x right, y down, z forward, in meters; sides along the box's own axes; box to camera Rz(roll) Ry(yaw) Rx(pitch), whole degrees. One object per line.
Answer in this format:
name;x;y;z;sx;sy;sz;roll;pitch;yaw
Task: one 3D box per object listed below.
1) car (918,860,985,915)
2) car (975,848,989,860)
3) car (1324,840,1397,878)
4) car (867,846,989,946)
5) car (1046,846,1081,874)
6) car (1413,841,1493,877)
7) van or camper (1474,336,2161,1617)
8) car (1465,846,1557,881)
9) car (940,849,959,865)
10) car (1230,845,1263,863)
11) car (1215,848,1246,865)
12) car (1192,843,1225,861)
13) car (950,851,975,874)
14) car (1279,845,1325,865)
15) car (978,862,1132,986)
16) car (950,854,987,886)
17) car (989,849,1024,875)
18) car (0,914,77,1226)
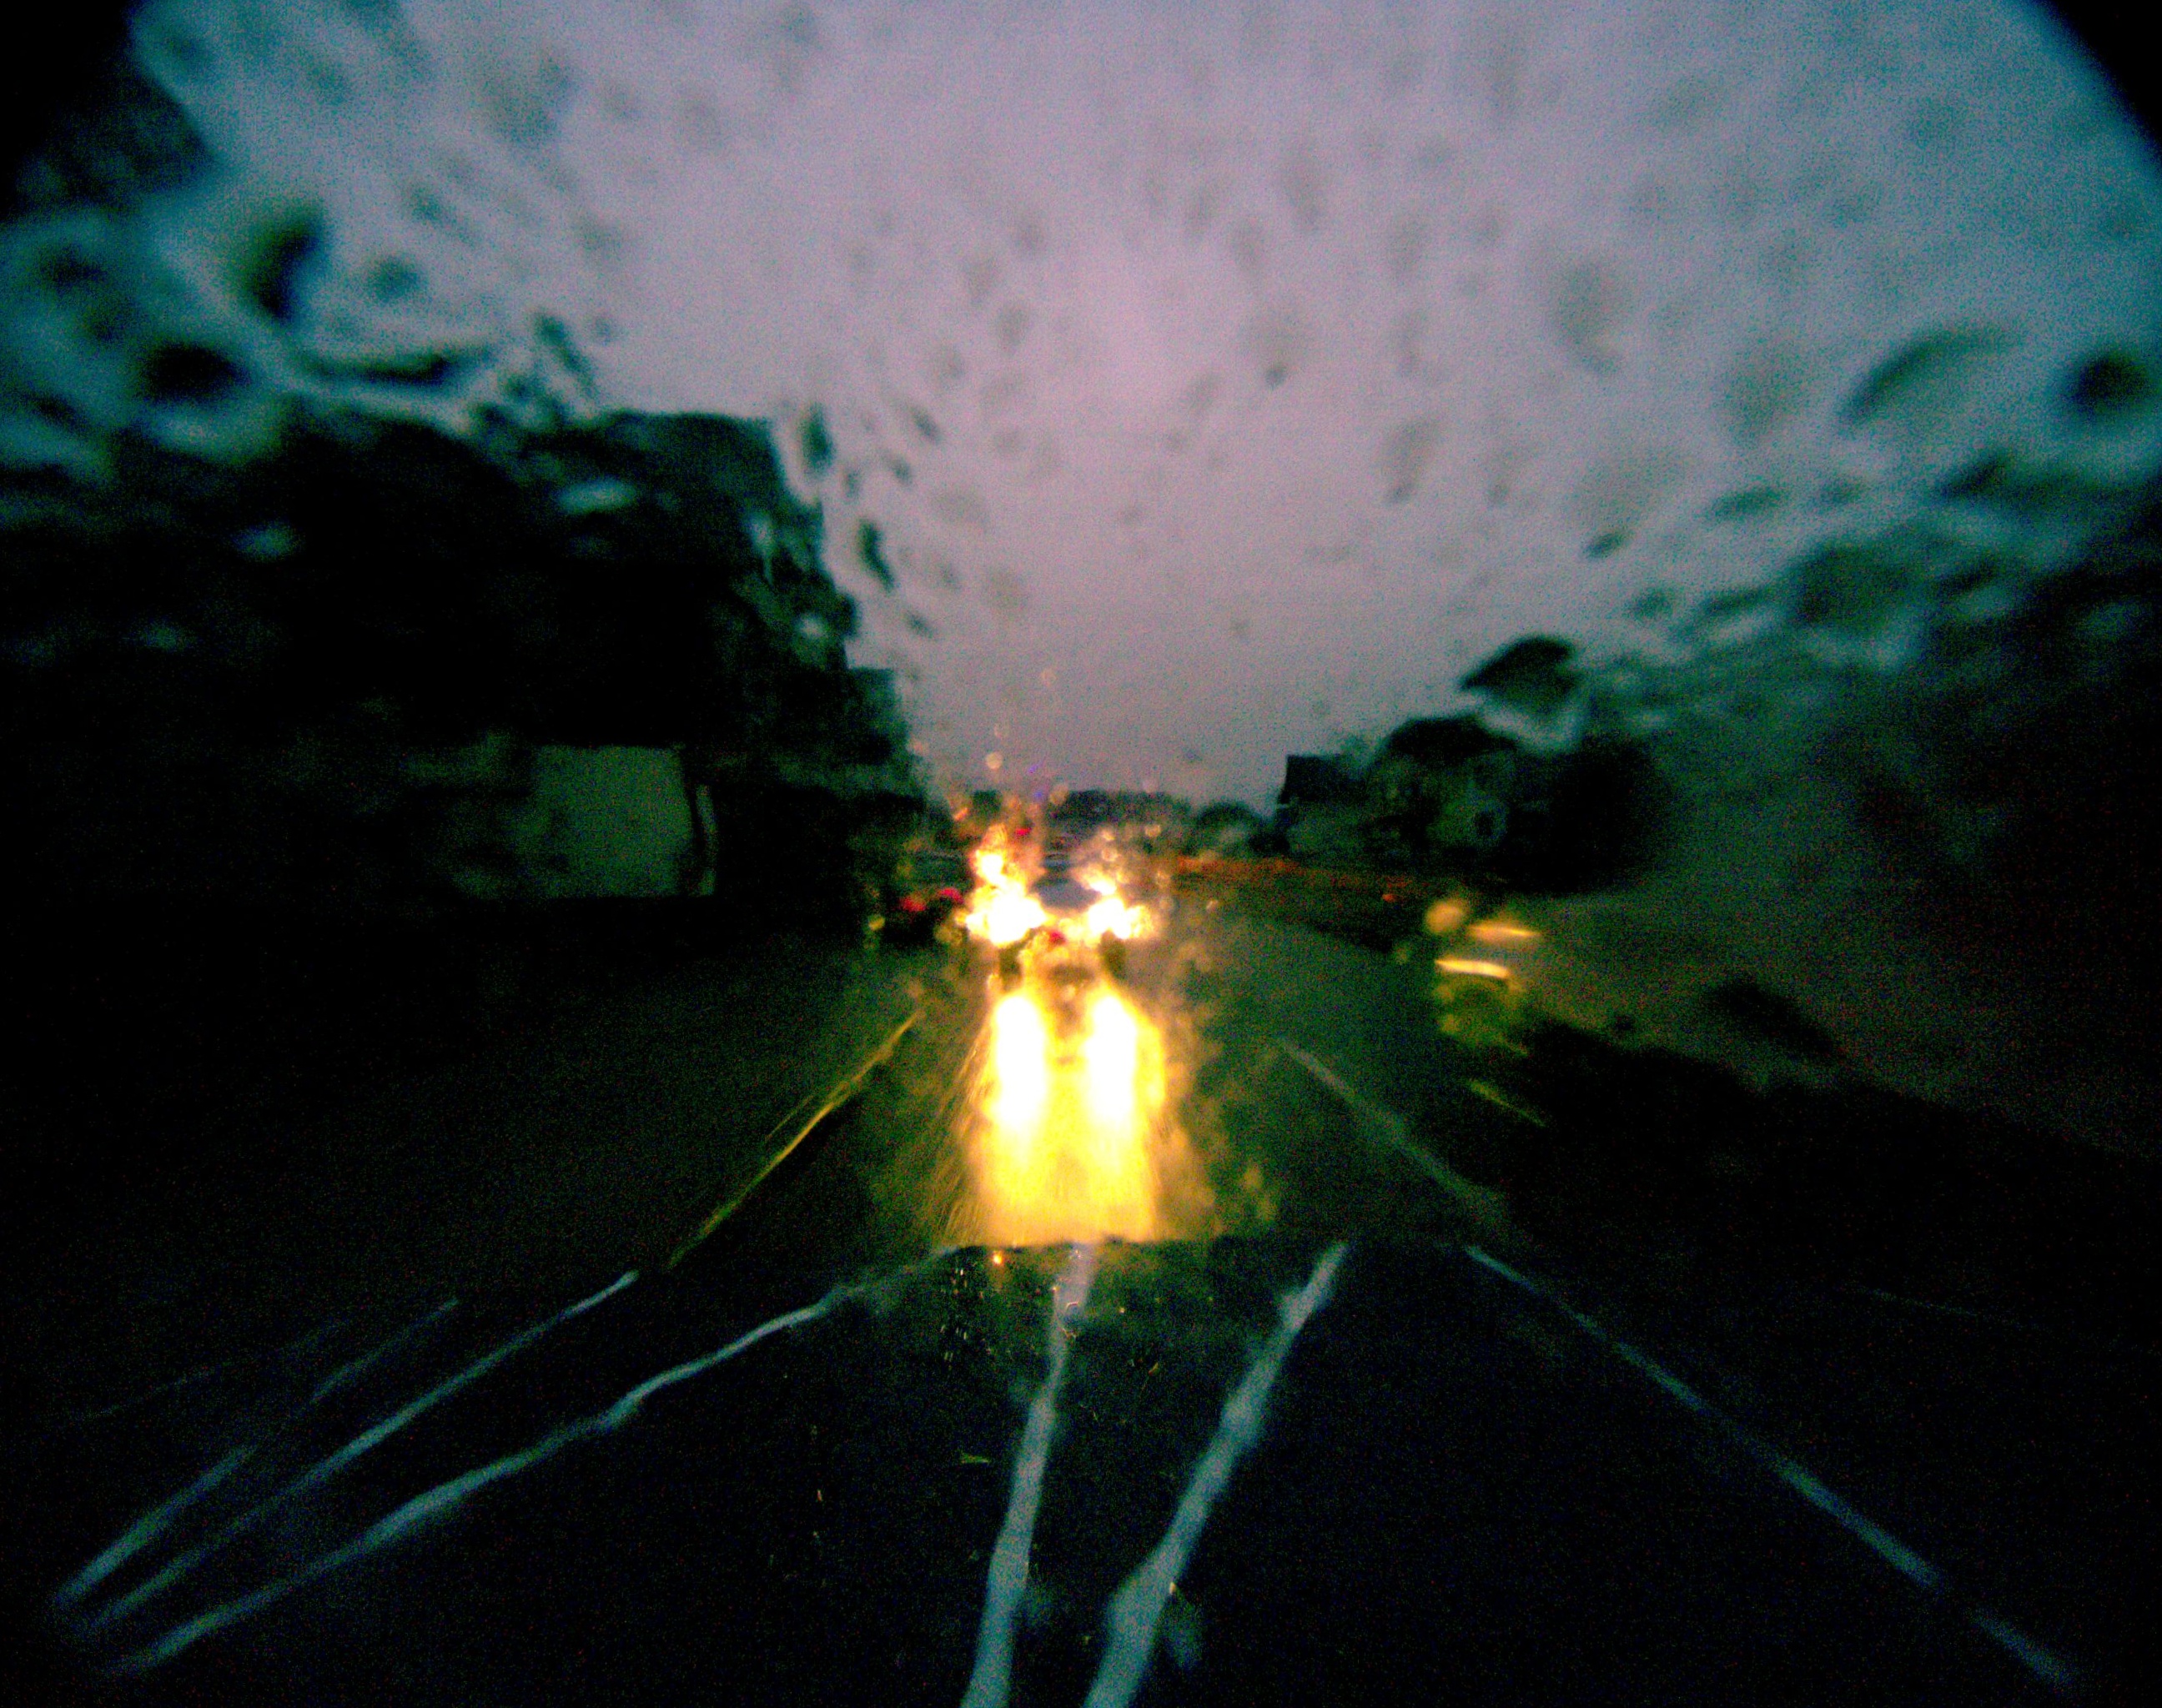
car;-3.636;0.907;21.675;1.650;1.407;2.726;1;0;-6
car;-13.464;-0.066;103.435;1.737;1.527;3.778;-3;1;-8
car;13.989;0.207;38.275;1.805;1.793;3.857;-1;1;-9
car;-3.046;0.765;15.893;1.774;1.771;3.999;2;0;-1
car;-1.133;0.370;47.698;1.668;1.626;3.548;-2;0;-9
car;19.263;0.244;39.517;1.864;1.672;3.997;-3;1;-5
van or camper;3.348;0.251;1.192;2.246;2.653;6.555;0;0;2
car;19.925;0.394;35.429;1.774;1.515;4.029;-1;1;-5
car;-14.289;0.300;82.371;1.814;1.555;4.299;-1;1;-12
car;15.626;-0.005;71.930;1.822;1.615;3.982;-4;1;-6
car;15.074;0.248;76.770;1.902;1.509;3.996;-4;2;-6
car;14.124;-0.218;84.298;2.000;1.894;4.352;-4;1;-12
car;-8.604;0.568;54.921;1.670;1.567;4.492;-1;1;-11
car;16.883;0.018;58.272;1.882;1.434;4.645;-2;1;-4
car;-0.239;0.973;12.231;1.998;1.526;4.001;-3;0;3
car;-5.568;0.755;37.653;1.657;1.446;4.234;1;0;-9
car;-5.082;0.504;51.248;1.908;1.630;4.561;-1;1;-11
car;-5.430;0.986;1.631;1.771;1.385;3.910;1;0;-11
